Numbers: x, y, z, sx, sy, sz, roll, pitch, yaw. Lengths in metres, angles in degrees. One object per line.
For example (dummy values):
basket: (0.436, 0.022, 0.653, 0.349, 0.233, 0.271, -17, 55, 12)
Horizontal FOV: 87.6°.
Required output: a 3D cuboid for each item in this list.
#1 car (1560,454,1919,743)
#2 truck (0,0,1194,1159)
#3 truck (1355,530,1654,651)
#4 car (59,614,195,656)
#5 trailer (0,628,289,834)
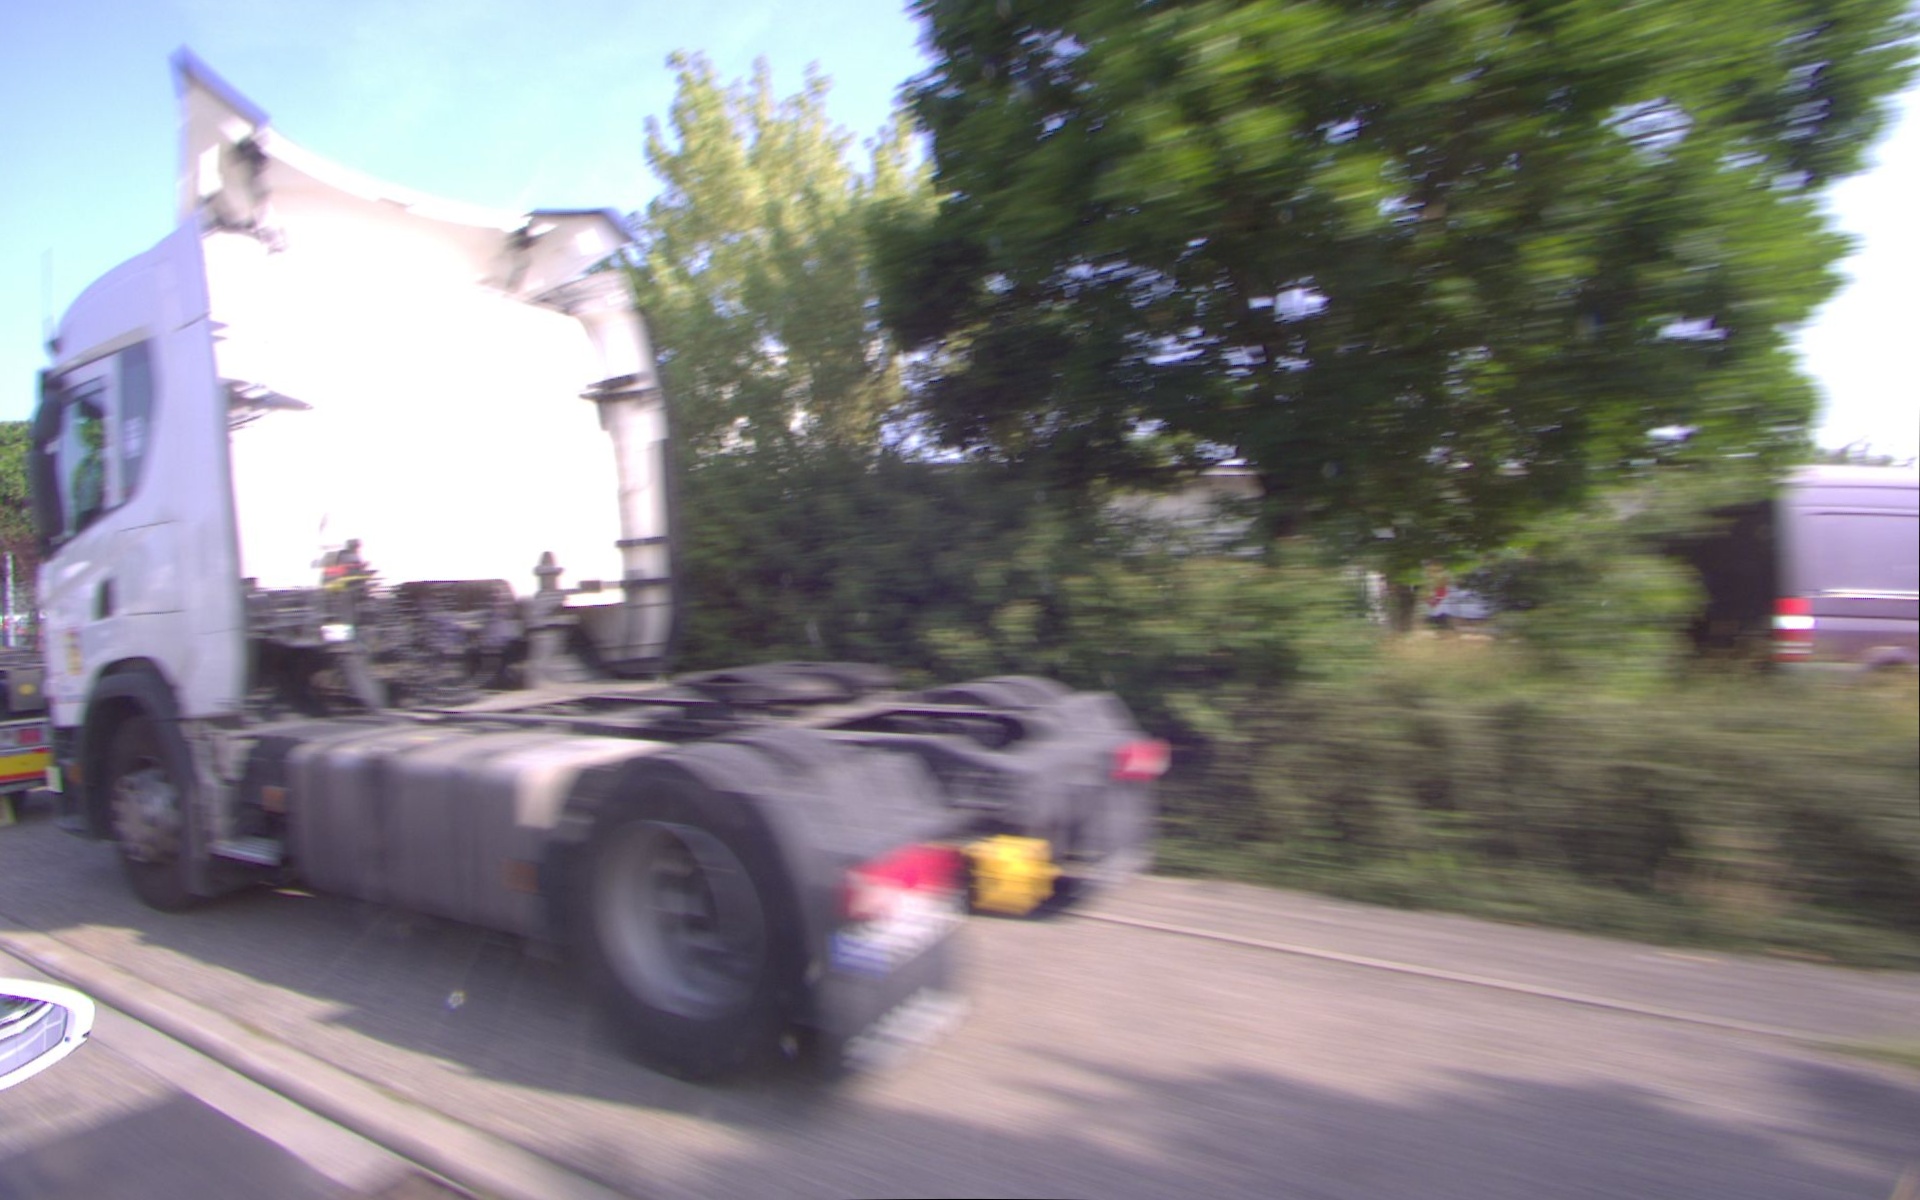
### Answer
car: (9.953, 0.069, 10.568, 5.933, 2.557, 2.575, 1, -2, -9)
truck: (-2.143, -0.586, 5.166, 5.958, 4.019, 2.686, -1, 3, 30)
truck: (14.879, -0.119, 28.477, 2.737, 2.877, 8.759, -1, -1, -8)
car: (-35.462, 1.450, 42.793, 1.842, 1.647, 4.266, 1, -1, 11)
trailer: (-9.064, 0.942, 9.255, 7.344, 1.252, 1.934, -1, 2, 32)
